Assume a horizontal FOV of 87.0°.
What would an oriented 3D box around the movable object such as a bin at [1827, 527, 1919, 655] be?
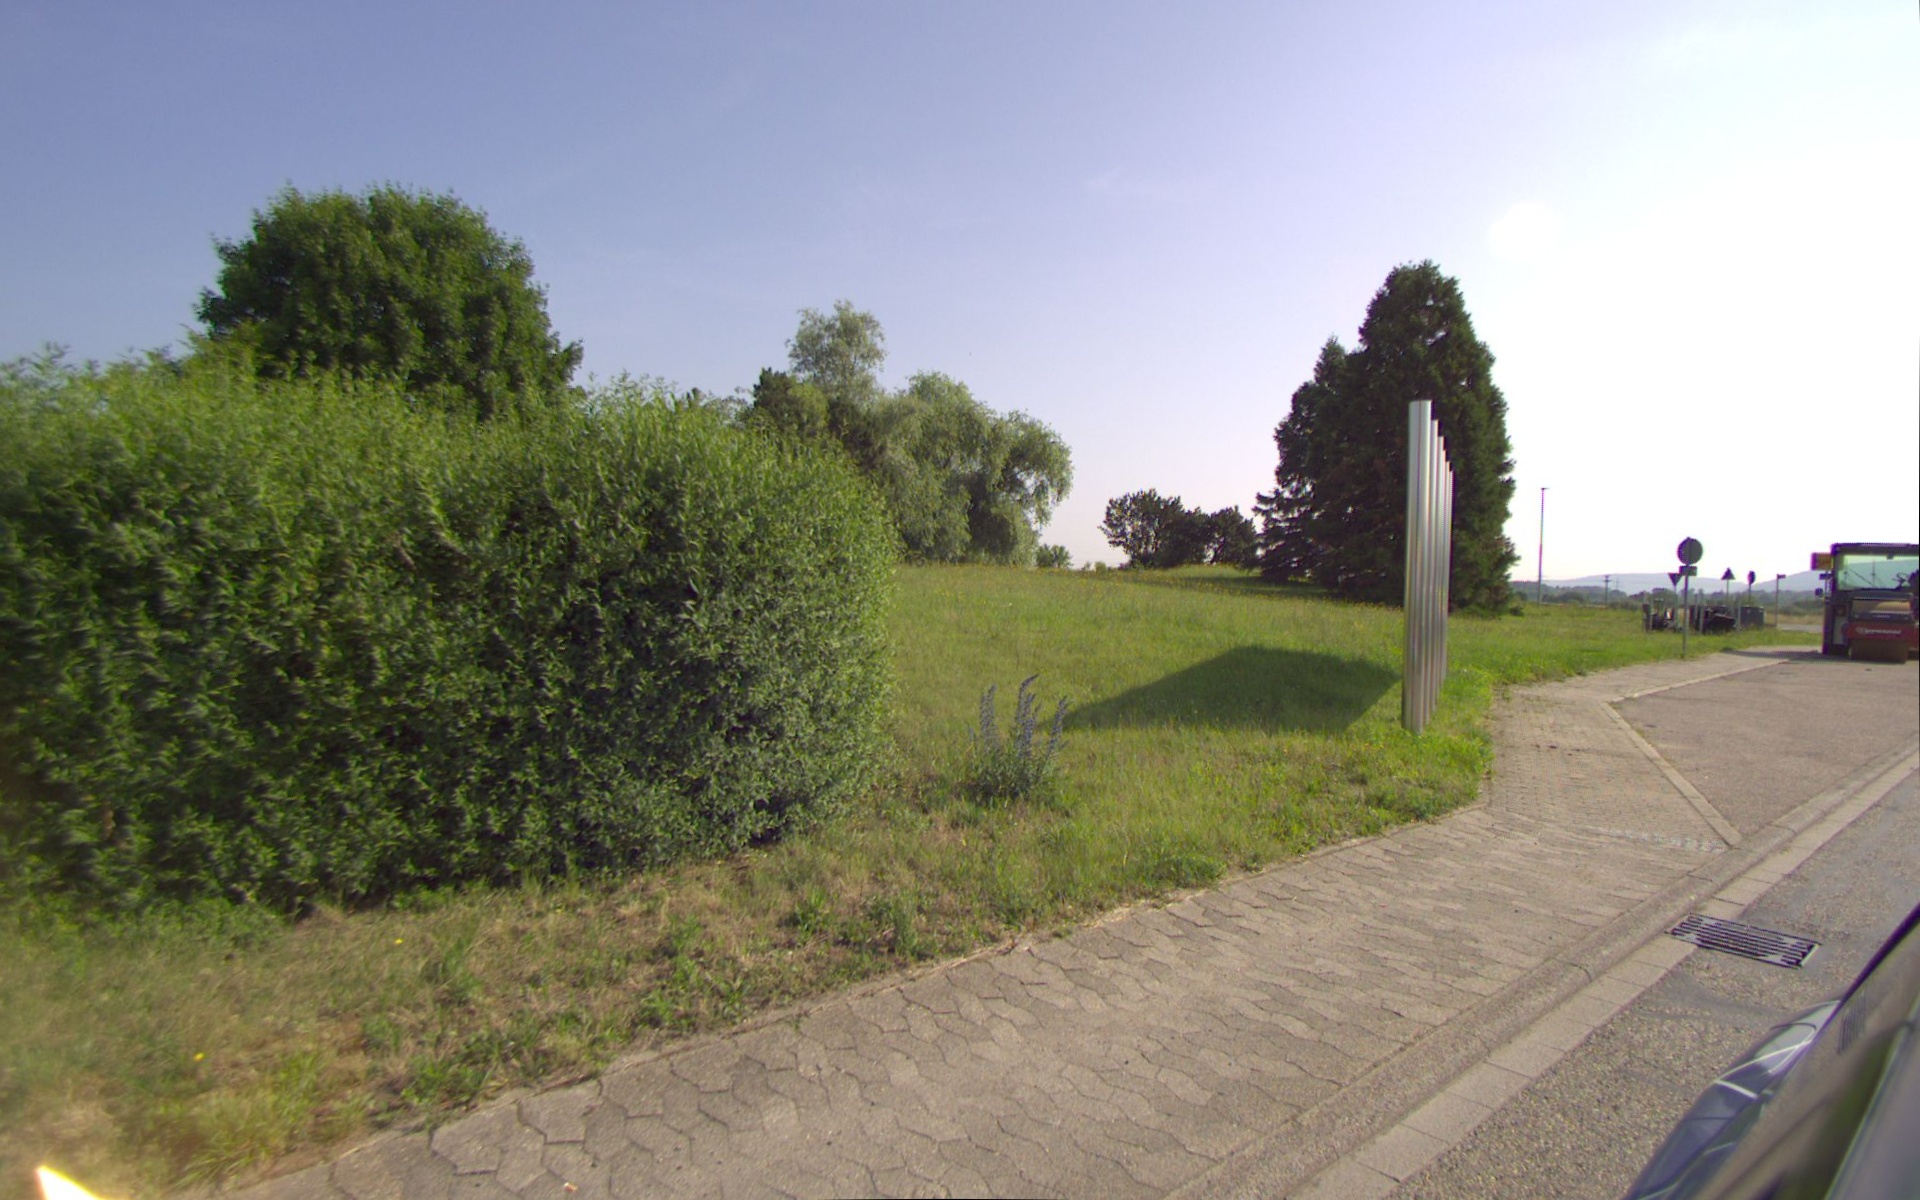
[{"bbox_3d":[24.519,-0.236,26.545,2.428,3.049,5.666,4,2,42],"label":"movable object such as a bin"}]
